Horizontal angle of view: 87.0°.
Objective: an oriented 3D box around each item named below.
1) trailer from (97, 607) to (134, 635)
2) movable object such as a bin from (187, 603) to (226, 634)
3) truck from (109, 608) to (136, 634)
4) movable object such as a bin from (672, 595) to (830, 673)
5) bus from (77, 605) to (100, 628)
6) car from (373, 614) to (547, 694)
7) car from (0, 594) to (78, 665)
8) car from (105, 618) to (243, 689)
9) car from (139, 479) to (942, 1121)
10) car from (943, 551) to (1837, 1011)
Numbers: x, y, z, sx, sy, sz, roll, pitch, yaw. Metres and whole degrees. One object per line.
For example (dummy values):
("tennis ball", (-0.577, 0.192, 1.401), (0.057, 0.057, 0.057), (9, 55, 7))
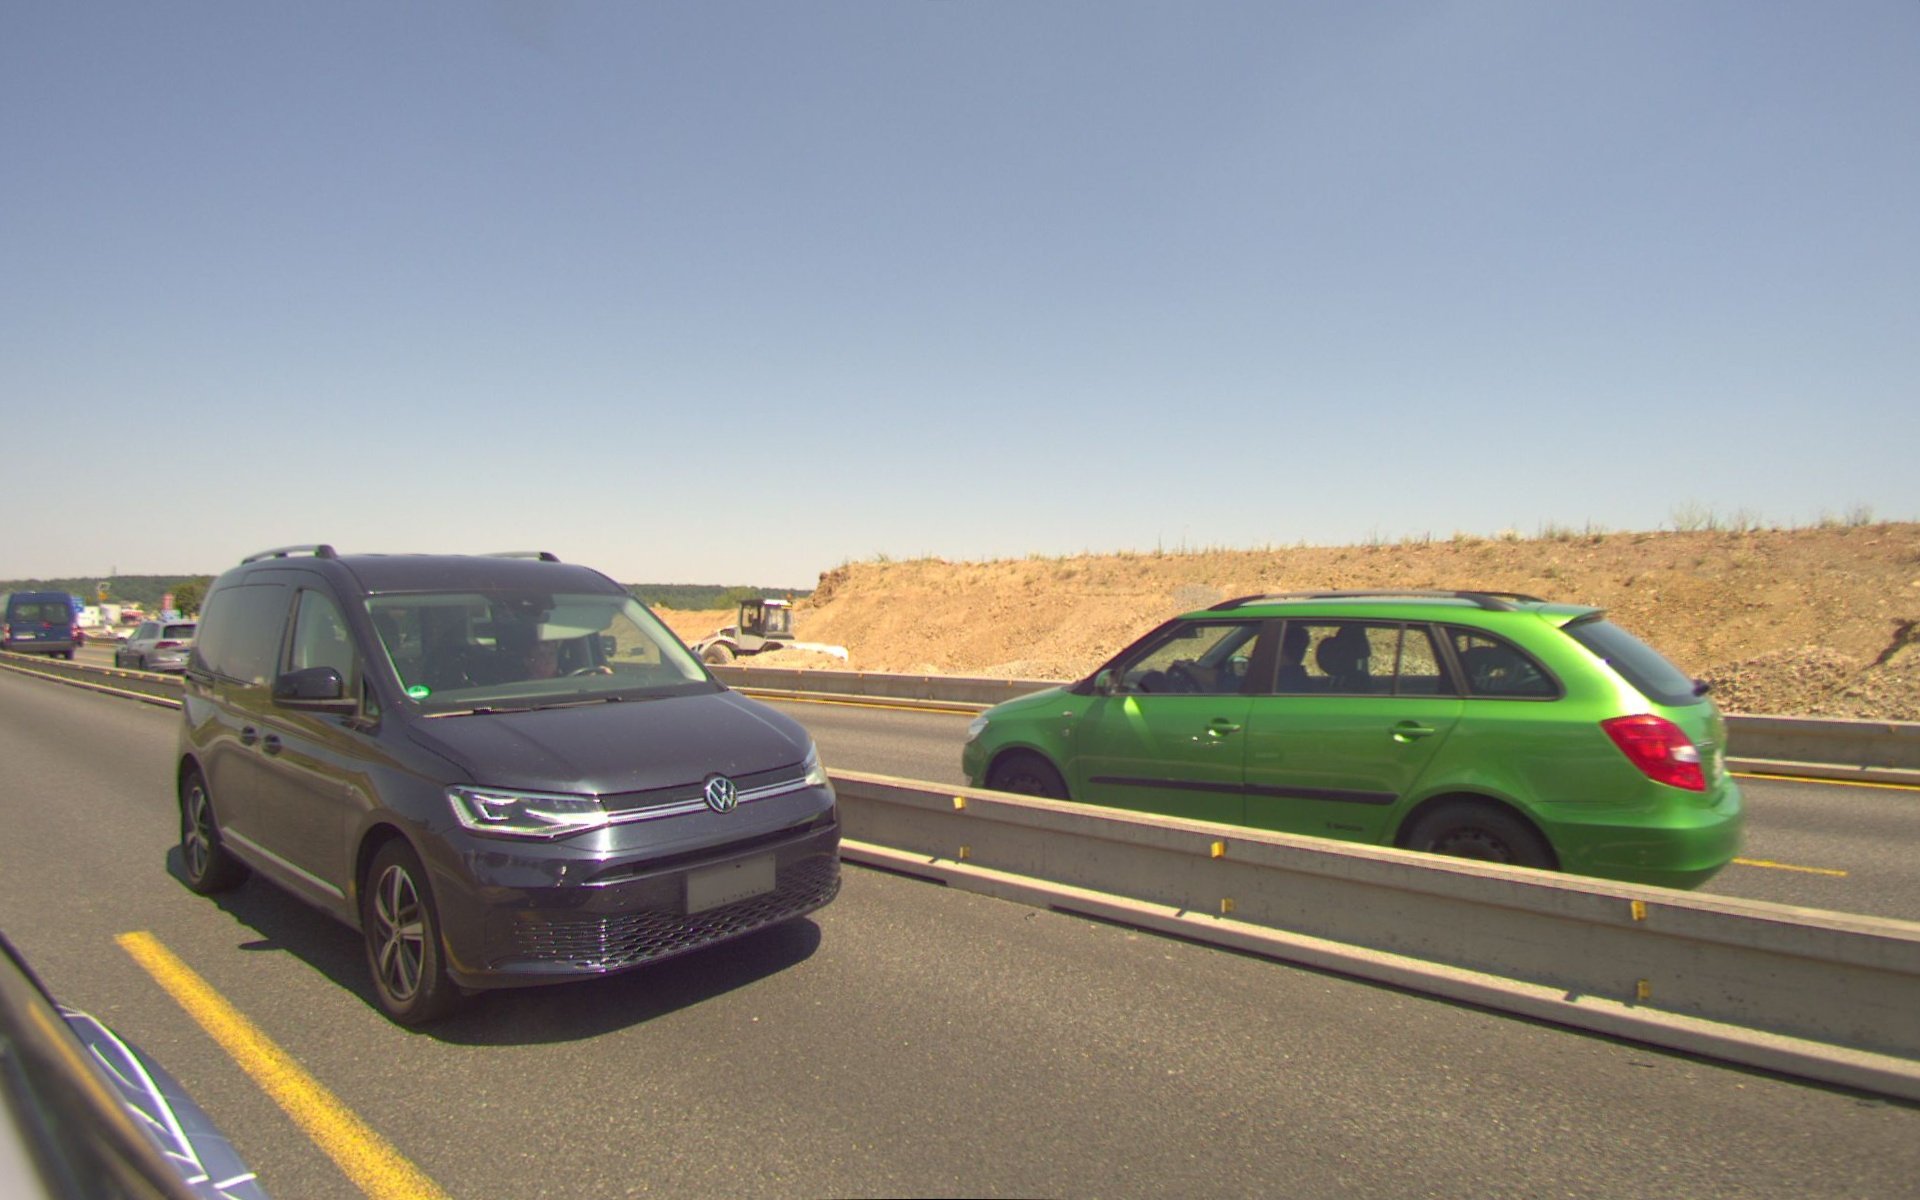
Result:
("trailer", (-133.703, 3.352, 160.380), (2.722, 4.146, 14.015), (1, -2, -33))
("movable object such as a bin", (-110.360, 2.787, 148.325), (2.882, 4.362, 9.356), (0, -2, -26))
("truck", (-137.584, 3.444, 166.331), (2.664, 4.093, 5.516), (1, -2, -32))
("movable object such as a bin", (-7.420, 1.169, 35.333), (6.741, 2.480, 1.684), (-2, -2, 41))
("bus", (-117.764, 2.265, 136.738), (2.320, 3.149, 7.238), (1, -2, -41))
("car", (-10.418, 1.054, 20.940), (4.446, 1.444, 1.673), (-1, -1, 41))
("car", (-34.724, 1.102, 37.819), (5.355, 2.487, 1.935), (-2, -2, 41))
("car", (-18.657, 1.196, 23.952), (4.522, 1.487, 1.768), (-1, -1, 41))
("car", (-2.432, 0.593, 5.092), (4.601, 1.803, 1.901), (-1, -1, 41))
("car", (1.975, 0.676, 5.495), (4.166, 1.592, 1.586), (-2, -2, 41))
